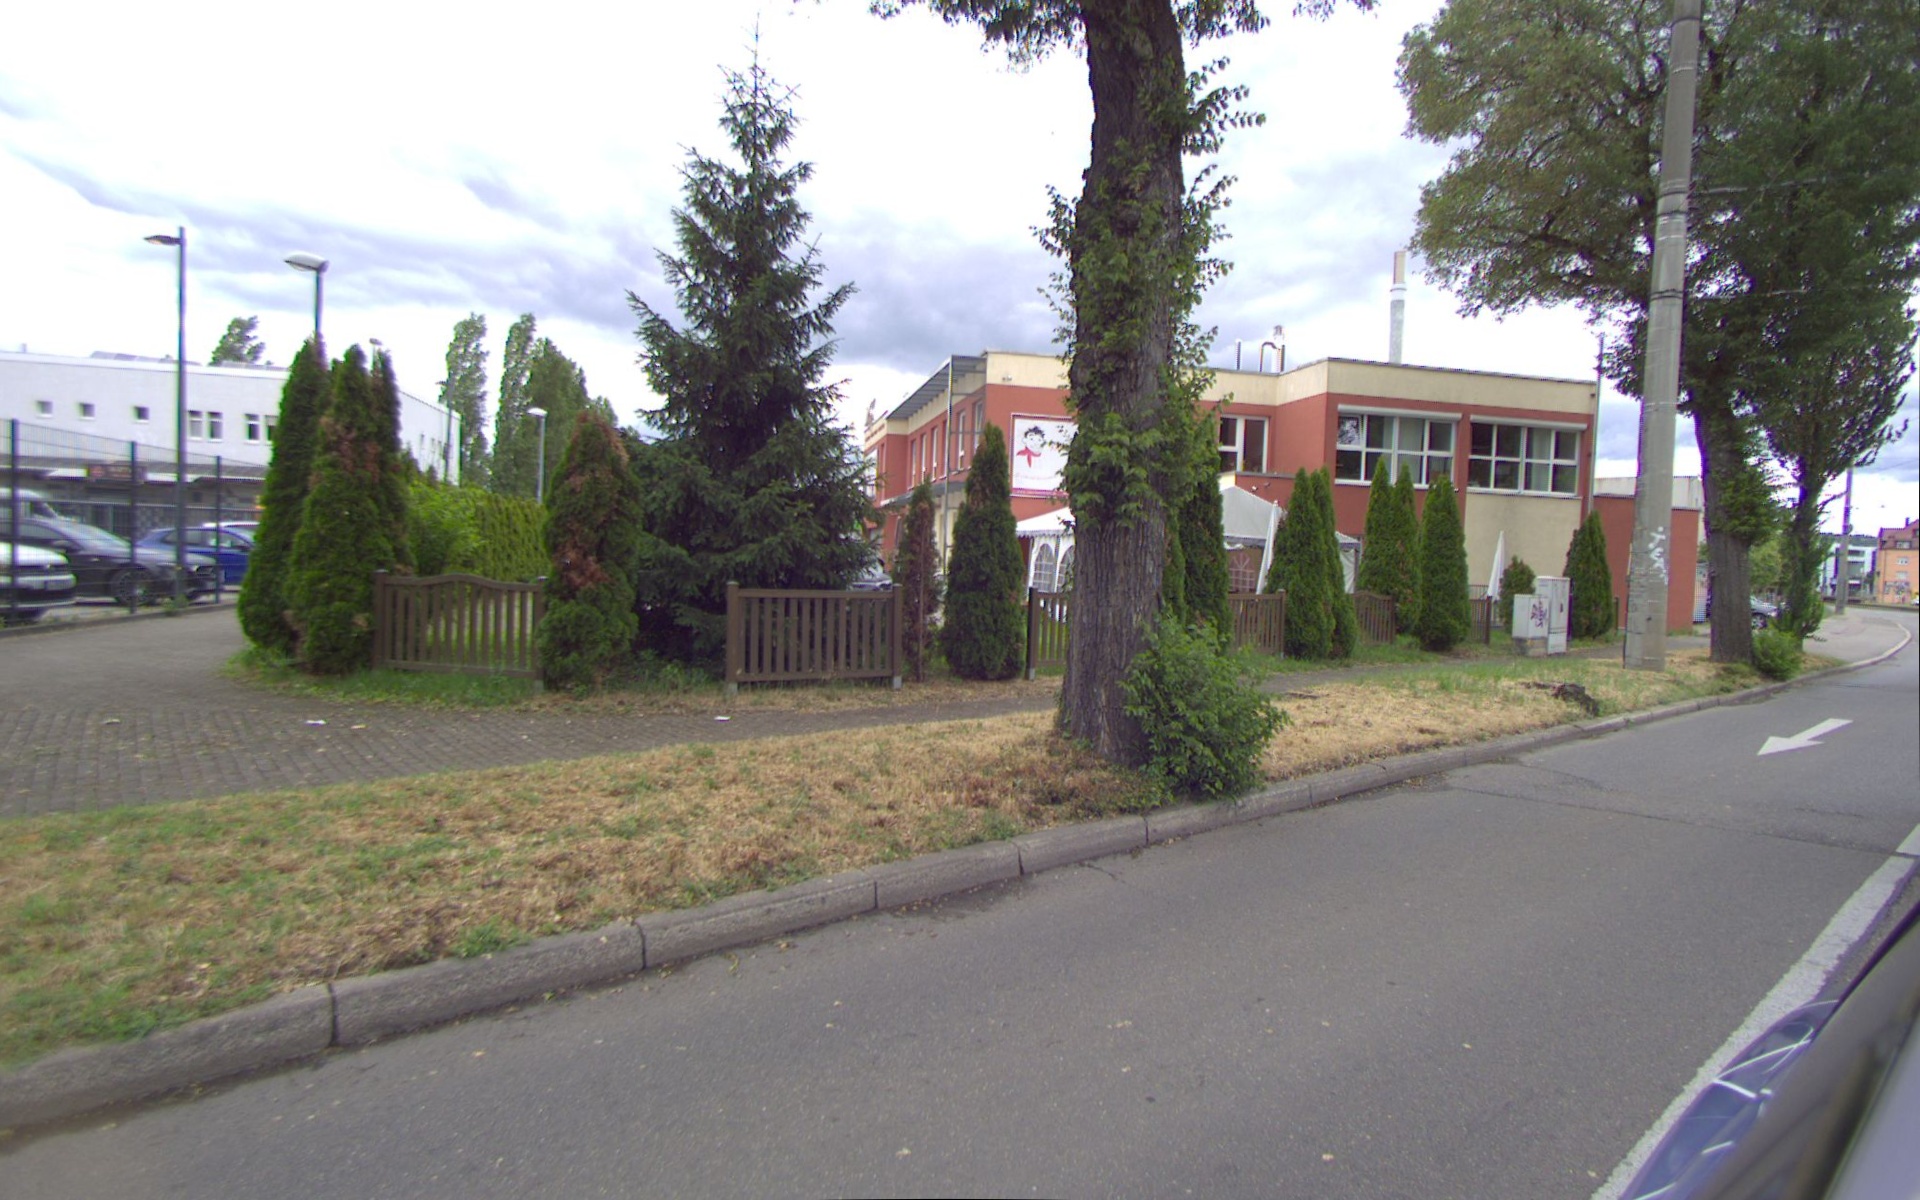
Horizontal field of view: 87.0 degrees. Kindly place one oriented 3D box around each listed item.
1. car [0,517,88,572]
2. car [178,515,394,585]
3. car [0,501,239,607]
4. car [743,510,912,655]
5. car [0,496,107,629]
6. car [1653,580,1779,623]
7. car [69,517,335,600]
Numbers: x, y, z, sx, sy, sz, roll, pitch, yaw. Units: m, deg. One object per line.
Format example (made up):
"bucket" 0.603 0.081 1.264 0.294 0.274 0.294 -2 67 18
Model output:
"car" -30.749 -1.728 32.140 4.181 1.670 2.004 0 0 -17
"car" -17.964 -1.327 27.201 4.407 1.686 2.005 1 2 -14
"car" -15.547 -0.814 17.661 4.407 1.686 2.005 1 2 -14
"car" -2.291 -0.271 16.477 1.958 2.039 4.008 0 0 -19
"car" -14.423 -0.563 13.355 4.407 1.686 2.005 1 2 -14
"car" 30.984 0.034 41.512 3.986 1.666 1.867 0 0 43
"car" -17.008 -0.929 22.967 4.407 1.686 2.005 1 2 -14
